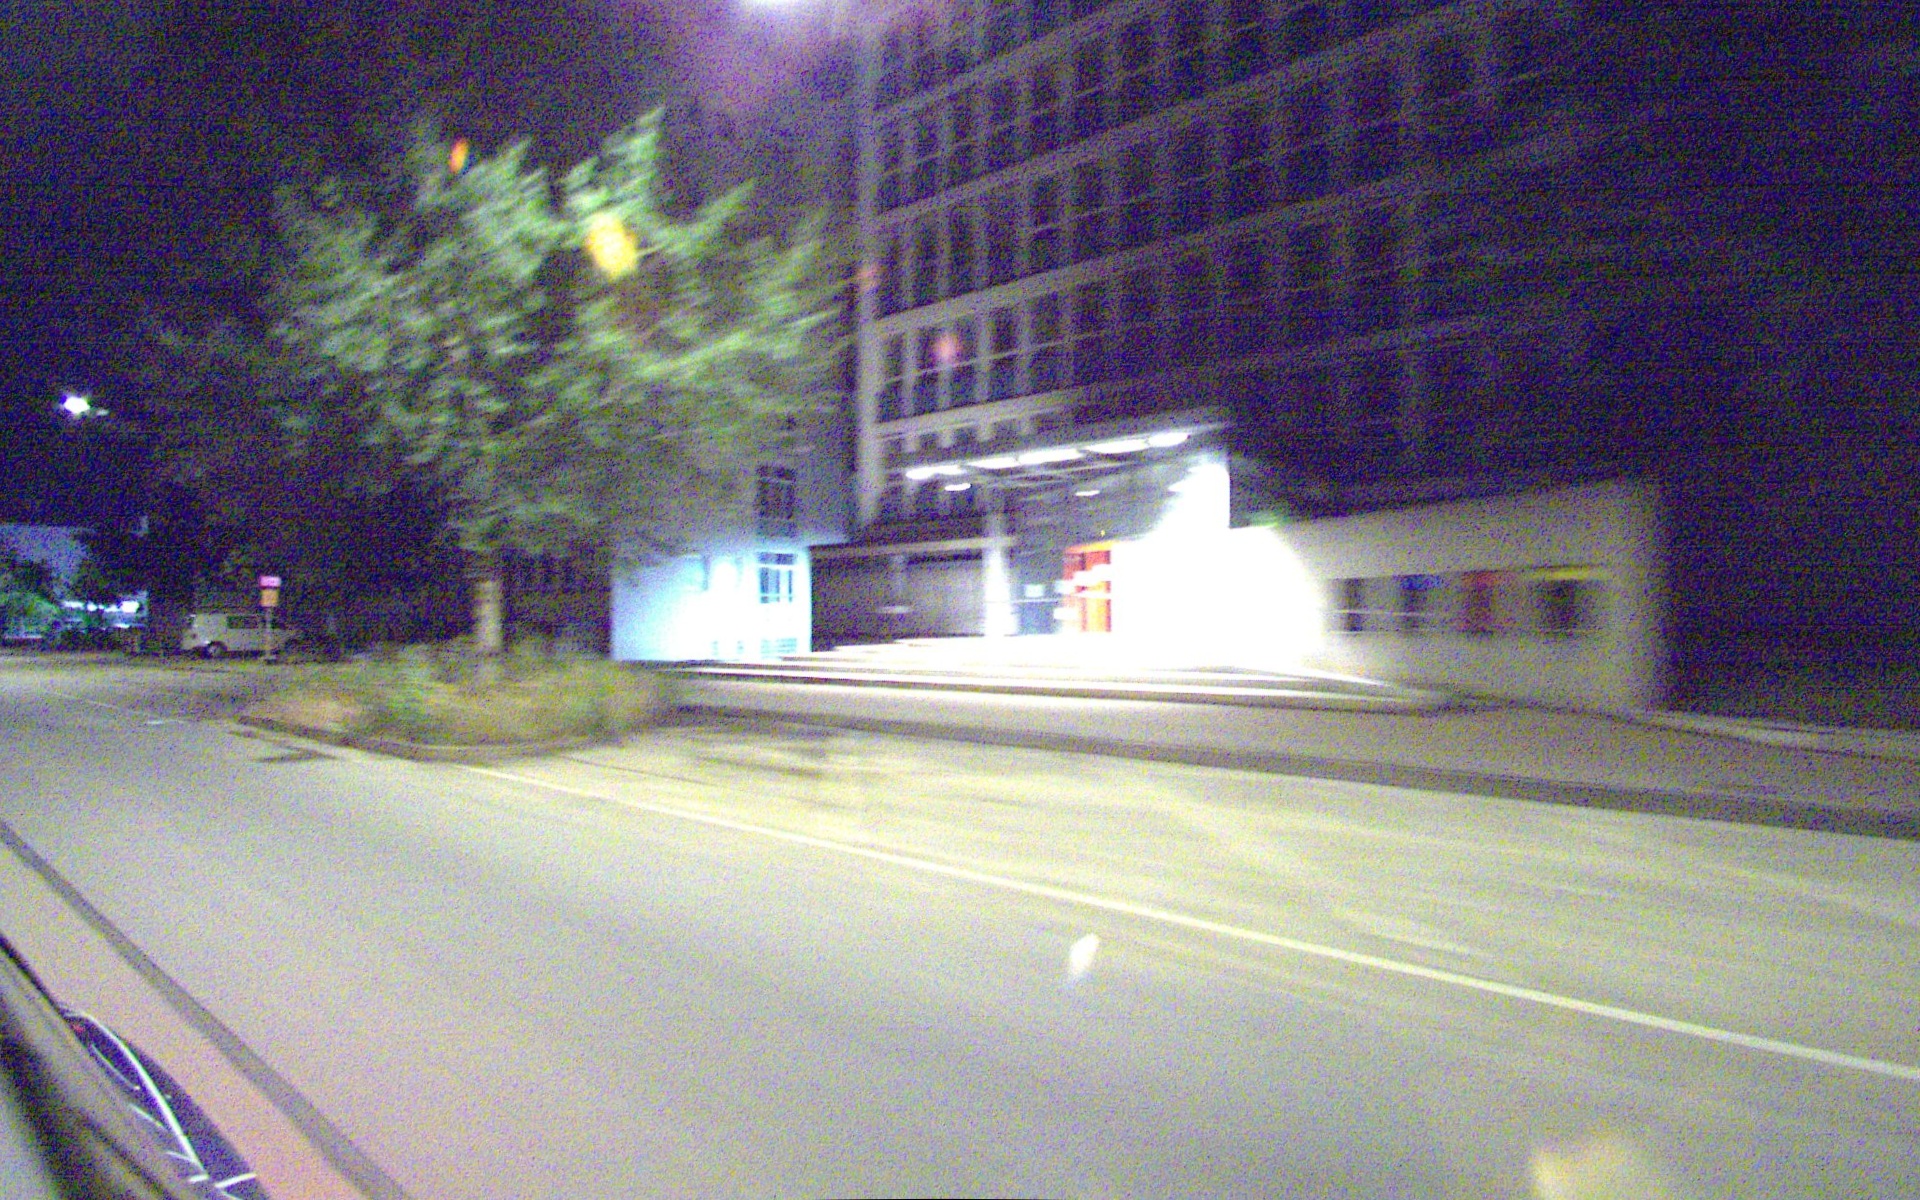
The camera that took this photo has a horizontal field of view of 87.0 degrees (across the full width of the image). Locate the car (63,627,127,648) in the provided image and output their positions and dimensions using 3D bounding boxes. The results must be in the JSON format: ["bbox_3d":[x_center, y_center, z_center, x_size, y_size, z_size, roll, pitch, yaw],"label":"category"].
[{"bbox_3d":[-75.663,3.261,88.587,1.803,1.474,3.951,-2,2,37],"label":"car"}]

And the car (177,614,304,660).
[{"bbox_3d":[-32.824,1.658,46.257,1.998,1.987,4.387,-2,-1,39],"label":"car"}]
